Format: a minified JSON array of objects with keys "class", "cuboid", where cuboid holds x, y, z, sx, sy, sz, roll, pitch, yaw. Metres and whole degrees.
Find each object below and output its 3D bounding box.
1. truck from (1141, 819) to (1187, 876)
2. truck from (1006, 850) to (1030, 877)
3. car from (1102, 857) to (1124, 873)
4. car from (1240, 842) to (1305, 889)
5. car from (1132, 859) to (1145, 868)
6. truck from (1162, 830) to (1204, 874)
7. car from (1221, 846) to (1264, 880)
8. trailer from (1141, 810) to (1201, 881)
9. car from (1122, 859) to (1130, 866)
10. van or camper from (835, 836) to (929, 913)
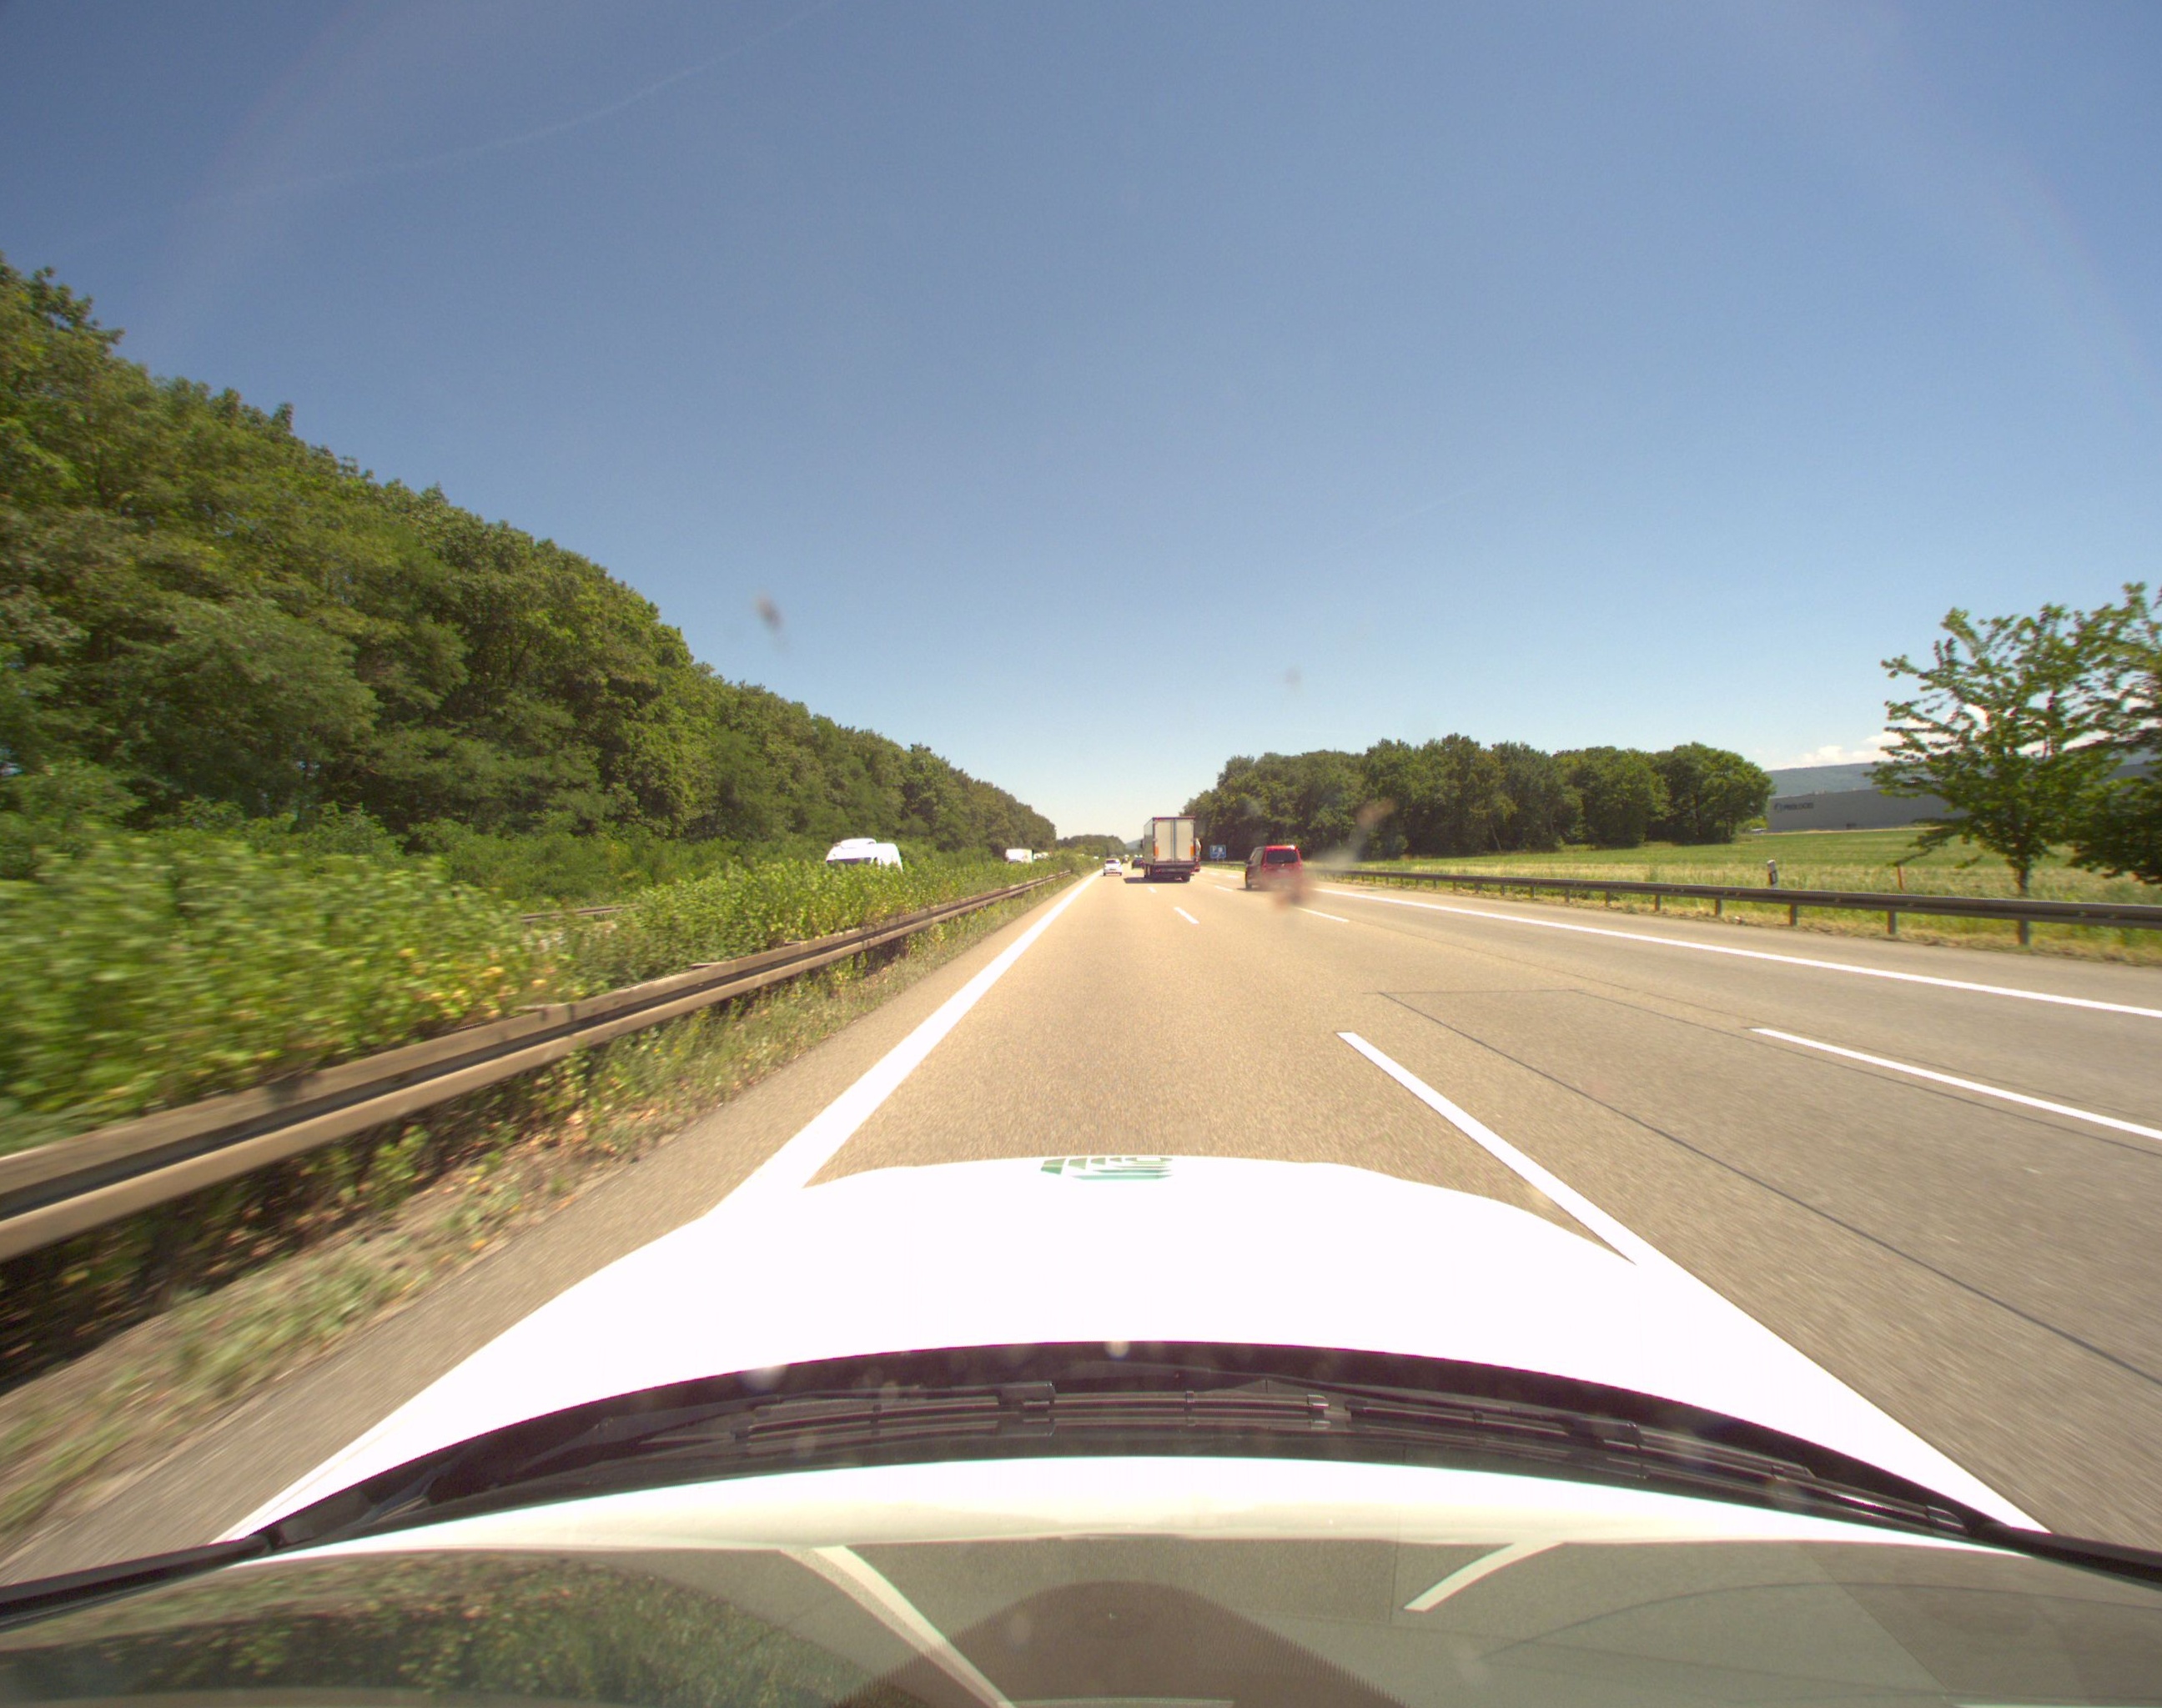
[{"class":"truck","cuboid":[6.321,-0.456,62.727,3.214,4.158,4.564,-2,0,4]},{"class":"truck","cuboid":[-8.396,1.194,109.266,2.401,3.353,7.002,-4,0,1]},{"class":"car","cuboid":[2.860,0.989,73.970,1.806,1.405,3.316,-2,0,0]},{"class":"car","cuboid":[8.807,0.524,37.912,1.849,2.003,5.523,-1,0,1]},{"class":"car","cuboid":[8.179,1.325,115.318,1.660,1.289,4.005,-2,0,4]},{"class":"truck","cuboid":[11.054,-0.182,89.130,3.213,4.345,10.806,-2,0,0]},{"class":"car","cuboid":[10.027,0.540,50.938,1.986,2.014,4.002,-2,0,2]},{"class":"trailer","cuboid":[5.828,-0.466,54.721,3.210,4.143,12.361,-2,0,3]},{"class":"car","cuboid":[12.992,2.348,234.301,2.099,2.014,4.001,-1,0,1]},{"class":"van or camper","cuboid":[-8.143,0.793,34.156,1.986,2.846,7.002,-2,0,1]}]
